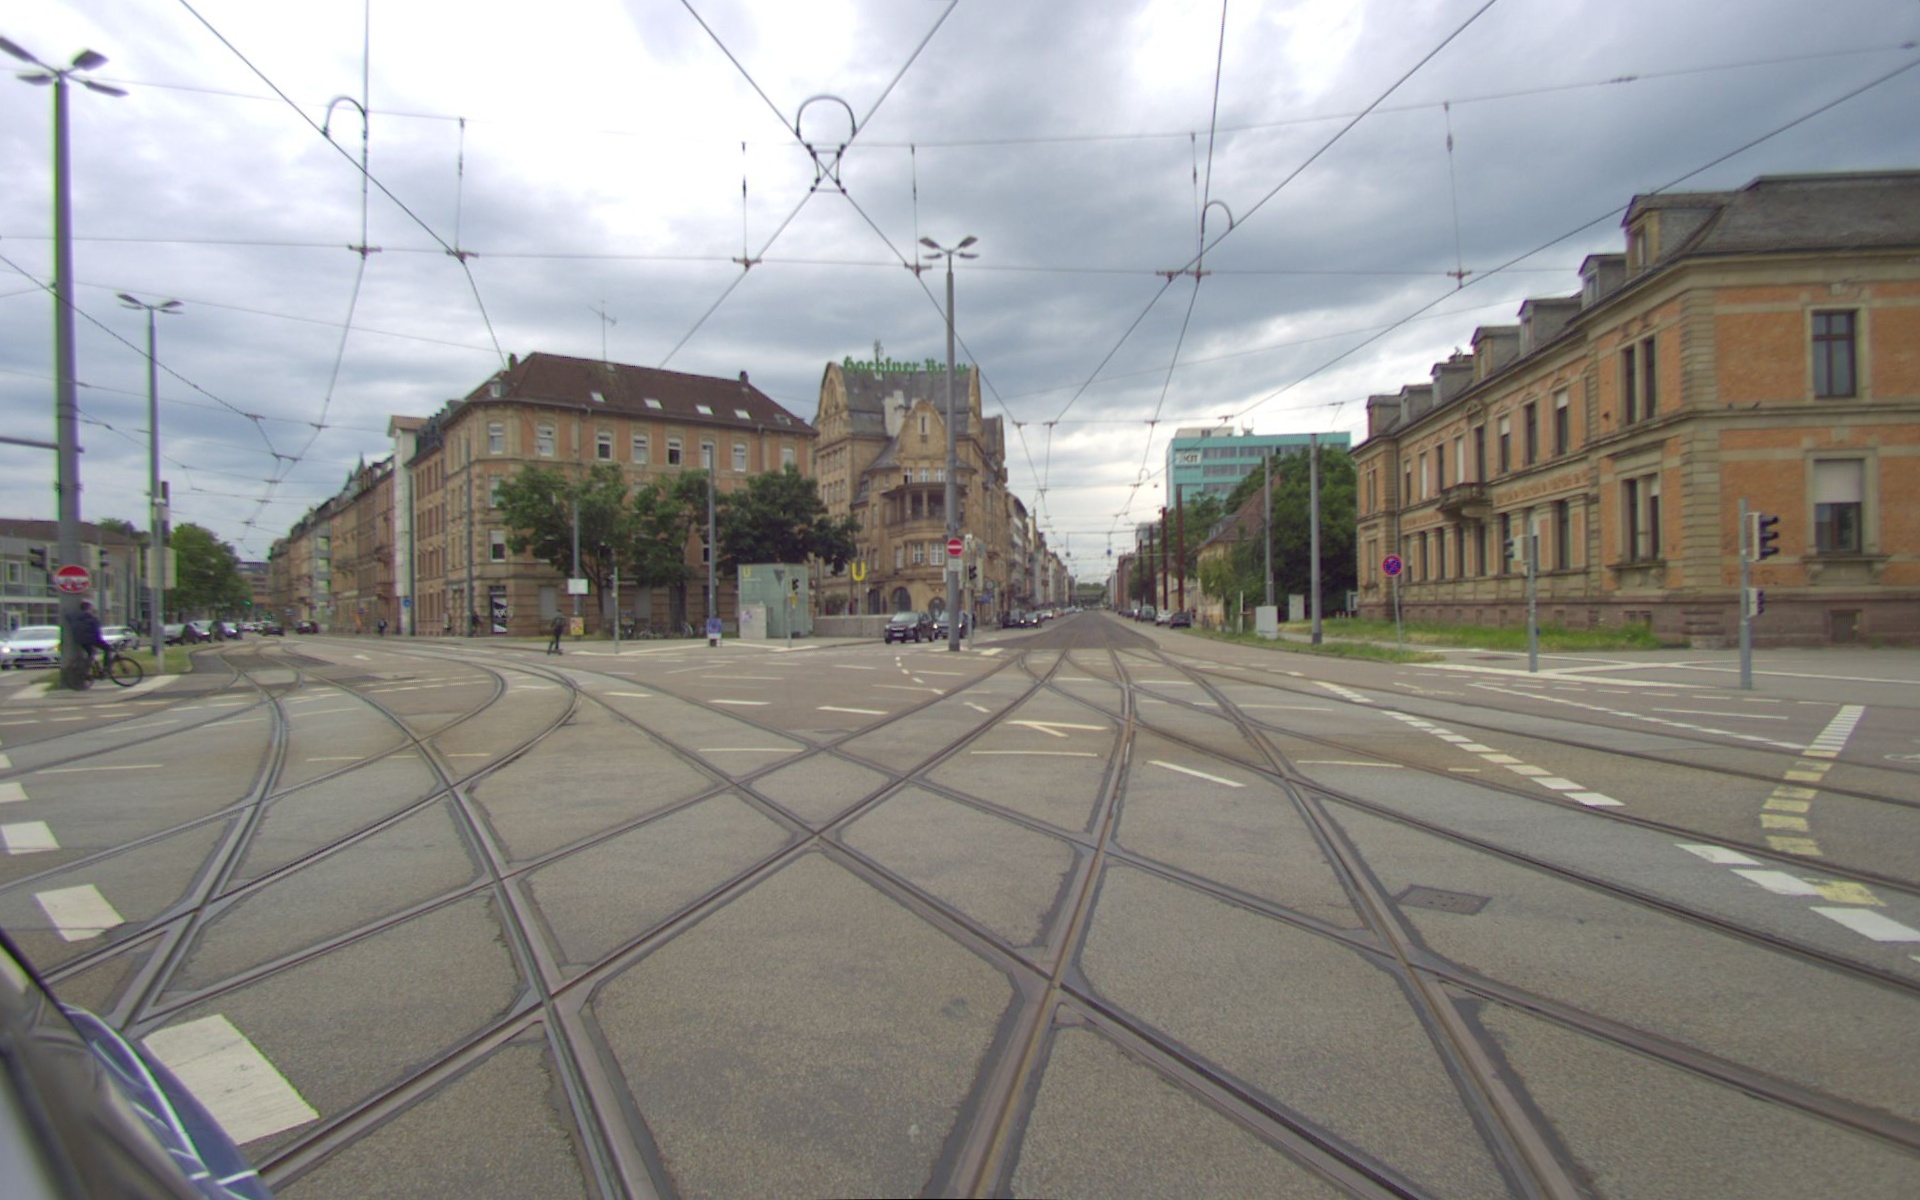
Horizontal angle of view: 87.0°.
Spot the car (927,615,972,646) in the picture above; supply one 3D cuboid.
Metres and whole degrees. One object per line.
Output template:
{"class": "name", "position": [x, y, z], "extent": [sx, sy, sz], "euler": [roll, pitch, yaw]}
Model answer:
{"class": "car", "position": [-0.571, 1.767, 59.752], "extent": [2.136, 1.727, 4.915], "euler": [-1, -1, 6]}

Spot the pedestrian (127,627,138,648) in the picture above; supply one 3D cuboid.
{"class": "pedestrian", "position": [-65.822, 2.967, 80.522], "extent": [0.653, 1.693, 0.651], "euler": [0, -1, -39]}

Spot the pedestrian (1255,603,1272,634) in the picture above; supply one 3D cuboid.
{"class": "pedestrian", "position": [18.353, 1.127, 61.201], "extent": [0.801, 1.846, 0.847], "euler": [-1, 0, 11]}

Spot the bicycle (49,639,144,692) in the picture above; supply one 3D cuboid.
{"class": "bicycle", "position": [-19.010, 1.425, 22.321], "extent": [0.523, 1.078, 1.607], "euler": [-1, 0, 13]}

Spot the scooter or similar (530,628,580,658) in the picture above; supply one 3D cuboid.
{"class": "scooter or similar", "position": [-16.539, 1.740, 41.332], "extent": [1.887, 1.174, 0.572], "euler": [-1, 0, 12]}

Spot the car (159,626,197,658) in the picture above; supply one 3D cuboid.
{"class": "car", "position": [-54.795, 2.909, 70.963], "extent": [1.967, 2.029, 4.009], "euler": [-1, 0, -37]}

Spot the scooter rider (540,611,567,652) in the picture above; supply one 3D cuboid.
{"class": "scooter rider", "position": [-16.615, 1.297, 41.359], "extent": [0.813, 1.640, 0.567], "euler": [-1, 0, 12]}

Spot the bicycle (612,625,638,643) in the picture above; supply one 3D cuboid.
{"class": "bicycle", "position": [-20.163, 2.026, 60.901], "extent": [0.742, 1.038, 2.402], "euler": [-1, 0, -37]}

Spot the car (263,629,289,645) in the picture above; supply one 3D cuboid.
{"class": "car", "position": [-71.870, 3.858, 106.247], "extent": [1.859, 1.481, 4.472], "euler": [-1, 0, -39]}

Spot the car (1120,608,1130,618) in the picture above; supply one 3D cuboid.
{"class": "car", "position": [34.858, 2.824, 213.693], "extent": [1.976, 2.029, 3.991], "euler": [-1, 0, 8]}

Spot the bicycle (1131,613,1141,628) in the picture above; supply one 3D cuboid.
{"class": "bicycle", "position": [21.470, 2.527, 123.361], "extent": [1.074, 1.763, 3.076], "euler": [-1, 0, 10]}

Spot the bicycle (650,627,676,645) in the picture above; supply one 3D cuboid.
{"class": "bicycle", "position": [-18.230, 2.207, 62.106], "extent": [0.742, 1.038, 2.402], "euler": [-1, 0, -37]}

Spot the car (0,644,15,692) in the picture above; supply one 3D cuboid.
{"class": "car", "position": [-43.411, 3.014, 44.917], "extent": [4.001, 2.029, 1.971], "euler": [-2, -1, 44]}

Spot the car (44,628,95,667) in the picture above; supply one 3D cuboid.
{"class": "car", "position": [-49.083, 2.568, 55.825], "extent": [1.968, 2.029, 4.007], "euler": [-1, -1, -40]}

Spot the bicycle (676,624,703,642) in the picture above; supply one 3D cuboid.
{"class": "bicycle", "position": [-16.778, 2.034, 62.838], "extent": [0.742, 1.038, 2.402], "euler": [-1, 0, -37]}

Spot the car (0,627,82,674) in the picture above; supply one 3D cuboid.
{"class": "car", "position": [-31.841, 1.688, 34.899], "extent": [1.941, 1.467, 4.203], "euler": [-1, 0, -35]}

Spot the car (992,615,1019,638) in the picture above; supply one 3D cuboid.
{"class": "car", "position": [3.804, 2.160, 84.087], "extent": [1.812, 1.773, 3.991], "euler": [-1, 0, 8]}

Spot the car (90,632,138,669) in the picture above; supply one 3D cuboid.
{"class": "car", "position": [-51.092, 3.035, 61.201], "extent": [1.967, 2.029, 4.009], "euler": [-1, 0, -37]}

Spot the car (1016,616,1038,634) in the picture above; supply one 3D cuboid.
{"class": "car", "position": [6.255, 2.308, 94.063], "extent": [1.810, 1.477, 3.994], "euler": [-1, 0, 6]}

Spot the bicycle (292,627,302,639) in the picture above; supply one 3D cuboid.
{"class": "bicycle", "position": [-76.289, 3.806, 116.422], "extent": [0.786, 1.302, 2.416], "euler": [0, -1, -37]}

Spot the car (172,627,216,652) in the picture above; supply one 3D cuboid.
{"class": "car", "position": [-58.095, 2.967, 76.844], "extent": [2.335, 1.768, 5.142], "euler": [-1, 0, -34]}

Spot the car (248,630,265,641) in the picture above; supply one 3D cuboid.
{"class": "car", "position": [-102.063, 5.094, 146.794], "extent": [1.787, 1.442, 4.025], "euler": [-1, 0, -39]}

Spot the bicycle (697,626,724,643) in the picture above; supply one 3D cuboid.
{"class": "bicycle", "position": [-15.758, 2.171, 63.894], "extent": [0.742, 1.038, 2.402], "euler": [0, -1, -37]}

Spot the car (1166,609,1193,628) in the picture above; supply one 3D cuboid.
{"class": "car", "position": [18.412, 1.554, 84.940], "extent": [1.978, 1.442, 3.987], "euler": [-1, 0, 10]}

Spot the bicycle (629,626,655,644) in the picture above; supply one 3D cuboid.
{"class": "bicycle", "position": [-19.357, 2.135, 61.607], "extent": [0.742, 1.038, 2.402], "euler": [-1, 0, -37]}

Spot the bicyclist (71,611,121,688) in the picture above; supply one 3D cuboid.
{"class": "bicyclist", "position": [-19.024, 1.080, 22.296], "extent": [0.513, 1.651, 0.652], "euler": [-1, 0, 14]}

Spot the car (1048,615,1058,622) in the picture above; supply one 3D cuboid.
{"class": "car", "position": [18.960, 3.757, 206.201], "extent": [1.810, 1.477, 3.994], "euler": [-1, 0, 6]}

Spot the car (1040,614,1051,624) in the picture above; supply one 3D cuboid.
{"class": "car", "position": [15.033, 3.325, 177.425], "extent": [1.810, 1.477, 3.994], "euler": [-1, 0, 6]}

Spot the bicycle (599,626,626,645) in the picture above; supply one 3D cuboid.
{"class": "bicycle", "position": [-20.776, 2.100, 60.435], "extent": [0.824, 1.038, 2.402], "euler": [-1, 0, -37]}

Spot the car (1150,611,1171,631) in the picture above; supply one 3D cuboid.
{"class": "car", "position": [20.092, 2.092, 101.369], "extent": [1.978, 1.863, 3.987], "euler": [-1, -1, 10]}

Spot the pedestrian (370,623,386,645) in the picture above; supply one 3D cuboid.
{"class": "pedestrian", "position": [-50.213, 2.917, 87.296], "extent": [0.715, 1.846, 0.914], "euler": [-2, -1, 17]}

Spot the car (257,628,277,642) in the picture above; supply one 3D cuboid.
{"class": "car", "position": [-92.139, 4.632, 134.566], "extent": [1.807, 1.657, 4.238], "euler": [-1, 0, -39]}

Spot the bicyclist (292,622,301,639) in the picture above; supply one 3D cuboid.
{"class": "bicyclist", "position": [-76.245, 3.515, 116.356], "extent": [0.811, 1.881, 0.926], "euler": [0, -1, -37]}

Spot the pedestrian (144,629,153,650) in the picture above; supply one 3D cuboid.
{"class": "pedestrian", "position": [-75.205, 3.683, 93.782], "extent": [0.642, 1.930, 0.603], "euler": [-1, 0, -37]}

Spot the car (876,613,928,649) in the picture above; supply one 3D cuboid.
{"class": "car", "position": [-2.922, 1.557, 51.929], "extent": [1.975, 1.623, 4.237], "euler": [-1, 0, 6]}
